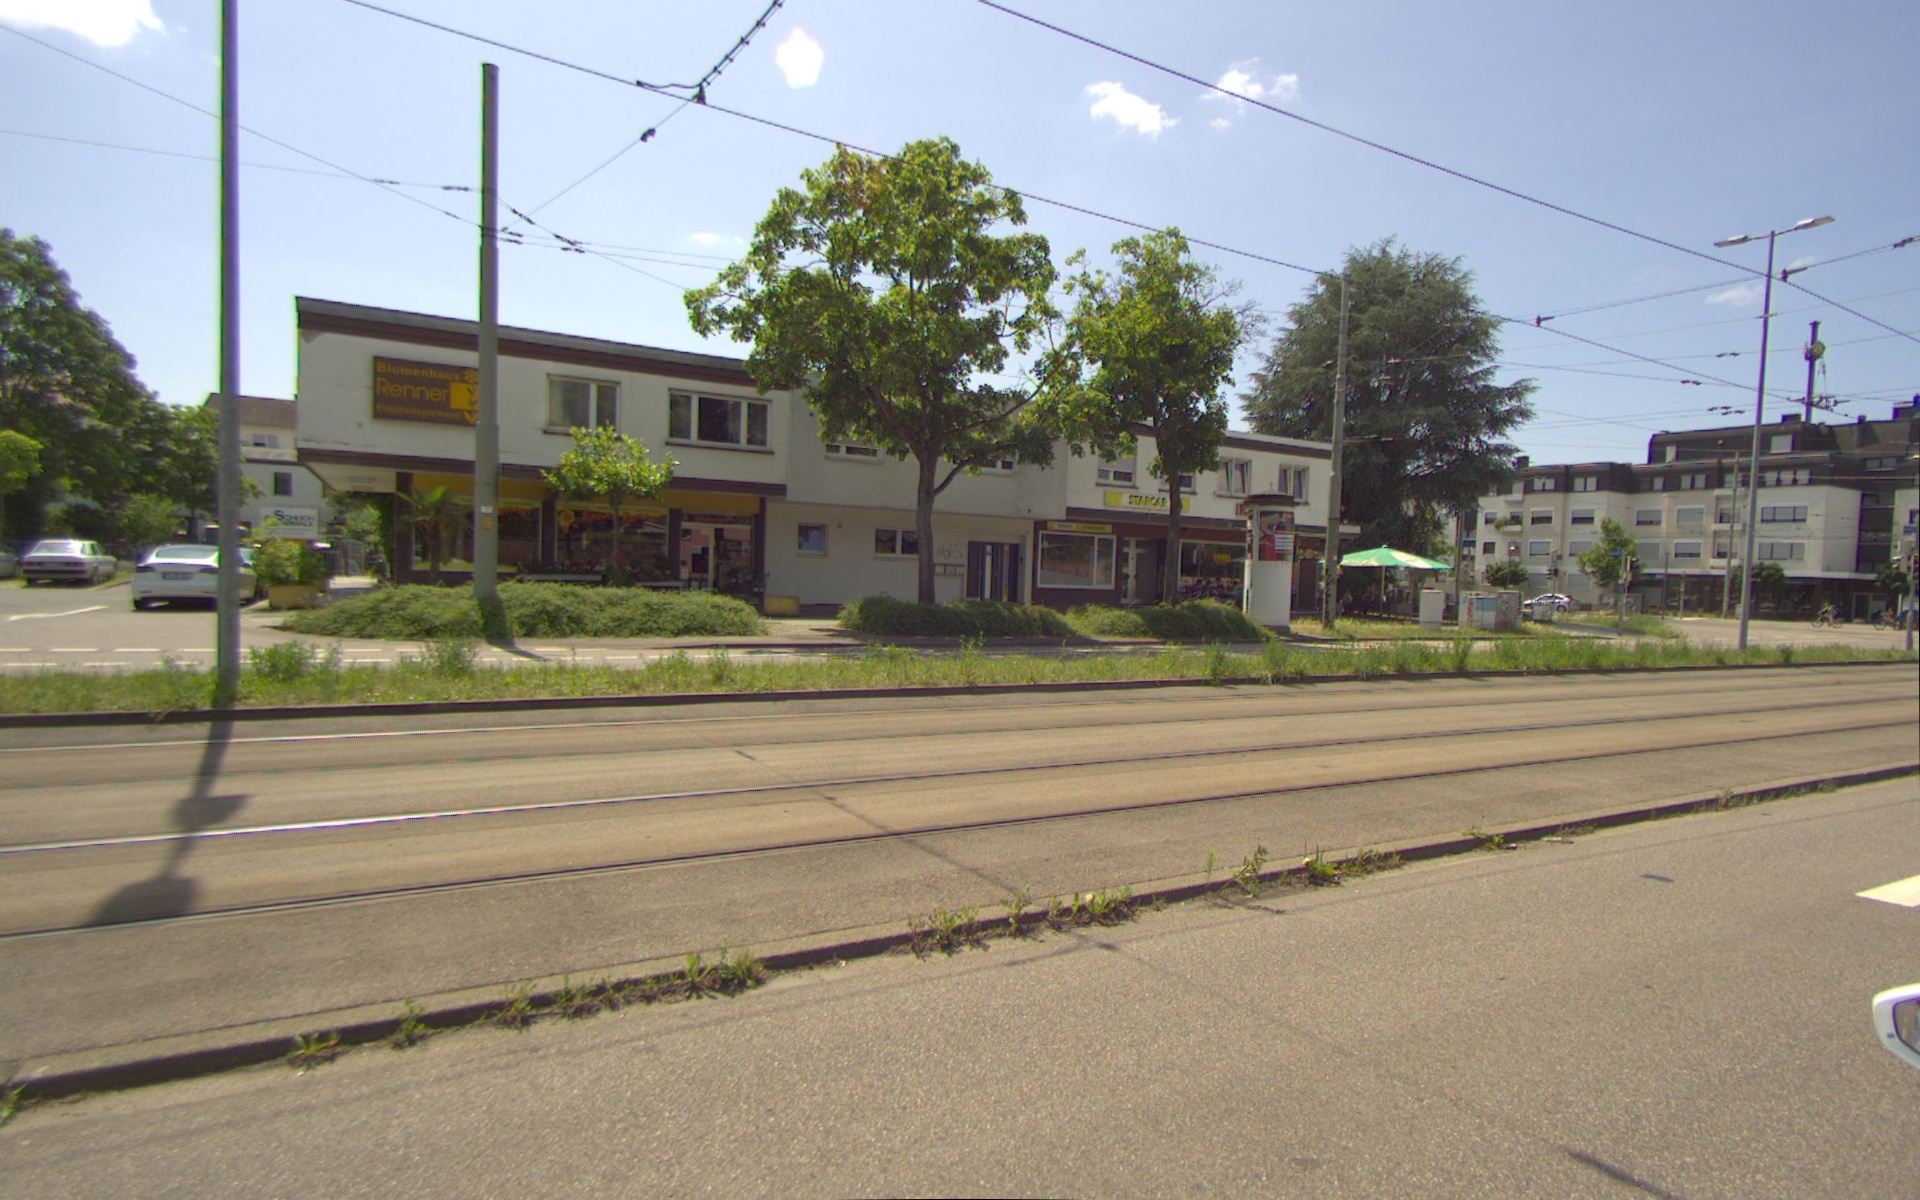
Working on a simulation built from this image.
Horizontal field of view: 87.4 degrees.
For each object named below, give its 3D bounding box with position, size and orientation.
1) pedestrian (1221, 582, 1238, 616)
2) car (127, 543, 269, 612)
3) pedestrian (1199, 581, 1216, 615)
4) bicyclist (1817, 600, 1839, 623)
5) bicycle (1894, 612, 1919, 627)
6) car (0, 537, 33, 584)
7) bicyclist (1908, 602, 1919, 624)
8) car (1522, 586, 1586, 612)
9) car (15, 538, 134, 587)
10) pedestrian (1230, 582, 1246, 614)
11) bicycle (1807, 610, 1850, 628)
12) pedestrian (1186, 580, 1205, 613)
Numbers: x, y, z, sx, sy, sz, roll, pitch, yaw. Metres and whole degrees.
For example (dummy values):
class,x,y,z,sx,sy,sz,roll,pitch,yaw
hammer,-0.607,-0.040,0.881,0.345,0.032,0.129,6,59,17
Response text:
class,x,y,z,sx,sy,sz,roll,pitch,yaw
pedestrian,10.574,-0.035,39.369,0.521,1.285,0.343,1,2,-28
car,-17.923,-0.556,23.851,1.882,1.454,4.457,1,2,-27
pedestrian,9.529,-0.076,38.657,0.526,1.285,0.351,1,2,-29
bicyclist,59.326,0.800,68.639,0.836,1.507,0.737,2,0,11
bicycle,66.813,1.380,70.158,2.211,0.947,0.672,2,0,11
car,-30.639,-1.261,31.057,1.882,1.421,3.972,1,2,-27
bicyclist,66.934,0.924,70.126,0.831,1.487,0.657,2,0,14
car,48.304,-0.097,81.698,1.977,1.938,3.966,1,2,-31
car,-28.208,-1.204,32.138,1.882,1.421,3.972,1,2,-27
pedestrian,11.222,-0.081,40.548,0.396,1.263,0.384,1,2,-29
bicycle,59.321,1.285,68.644,2.211,1.115,0.517,2,0,12
pedestrian,9.231,-0.130,39.380,0.573,1.285,0.350,1,2,-29
